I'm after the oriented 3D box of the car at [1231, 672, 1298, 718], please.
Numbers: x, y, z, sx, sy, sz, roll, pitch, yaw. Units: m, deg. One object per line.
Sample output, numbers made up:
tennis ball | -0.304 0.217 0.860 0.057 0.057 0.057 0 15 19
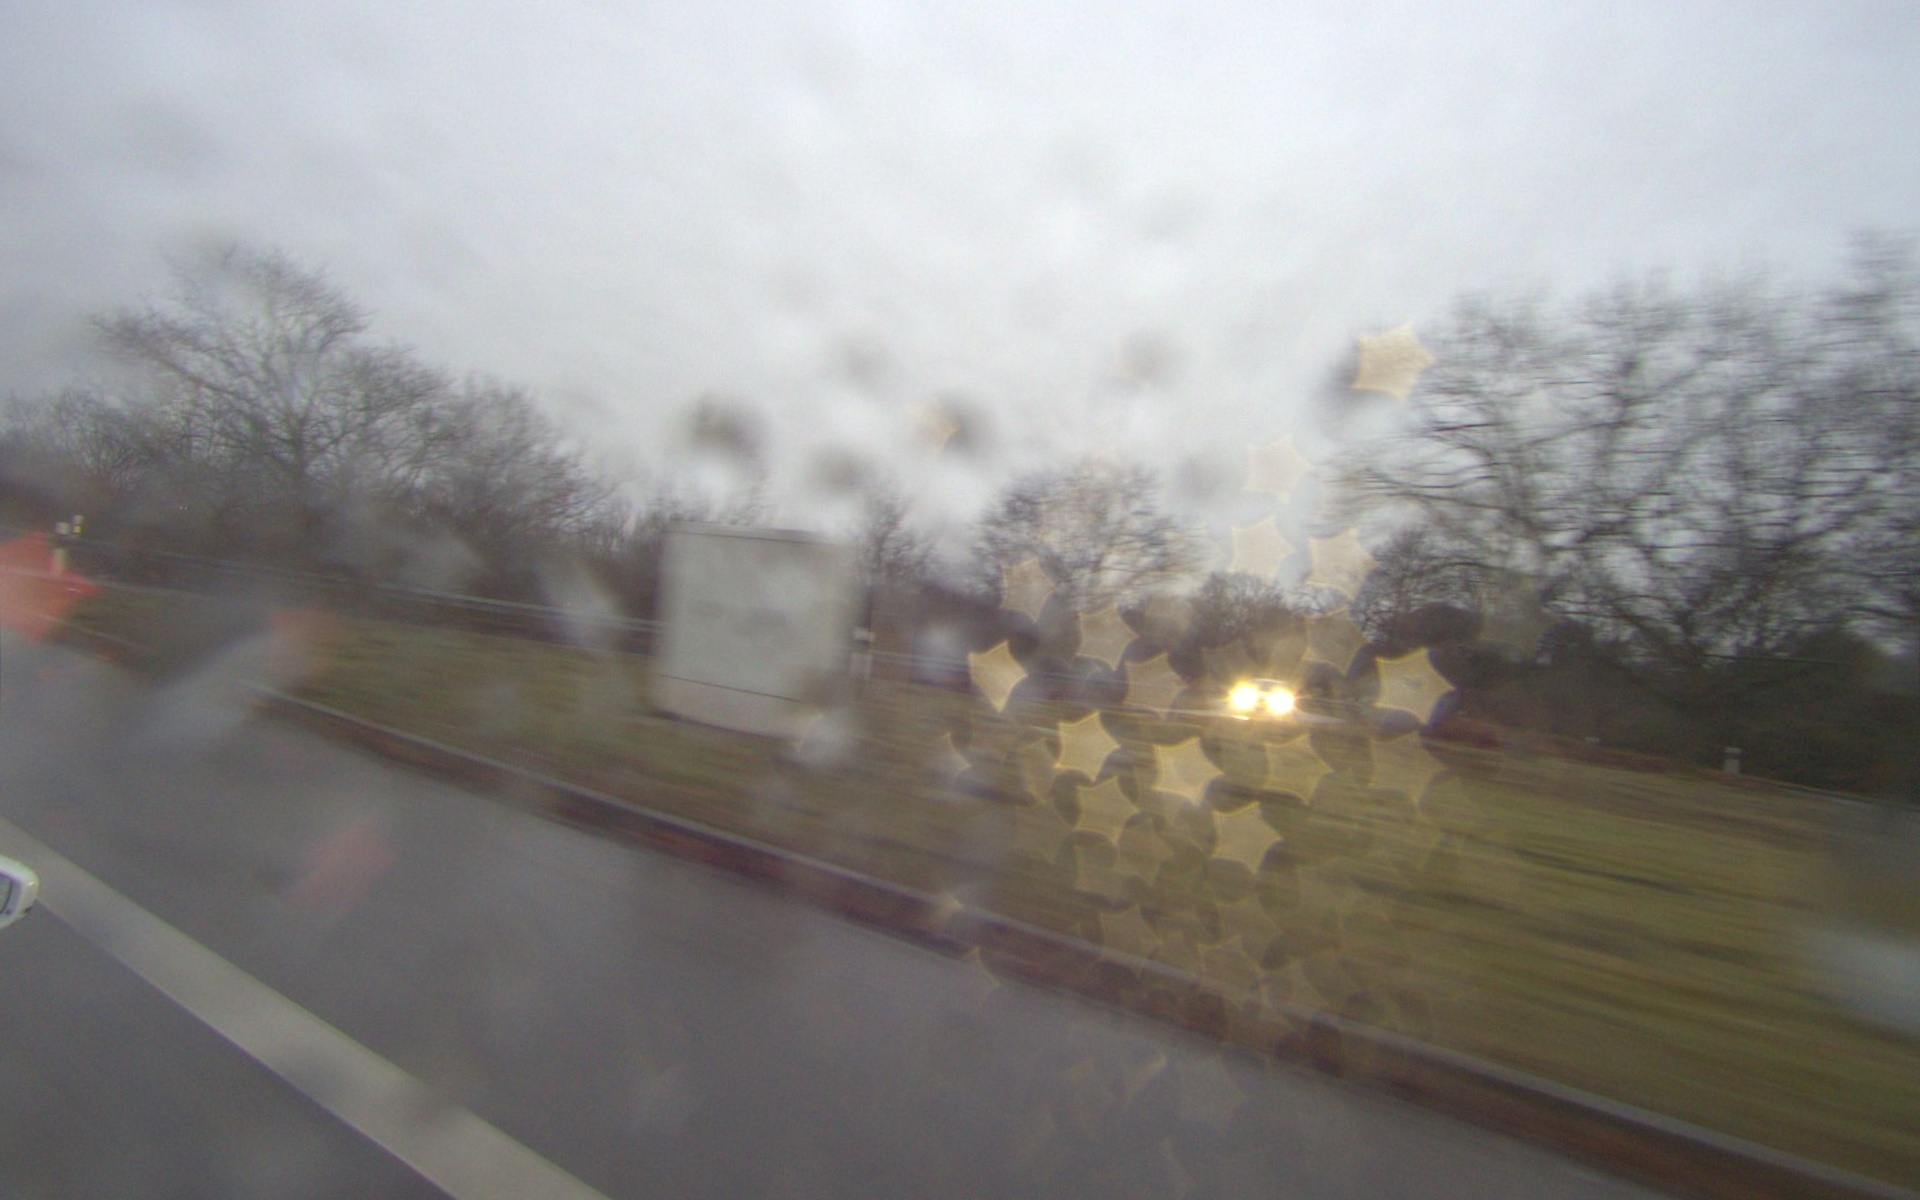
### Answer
car | 11.784 3.628 38.710 1.900 1.374 4.398 7 -2 23
